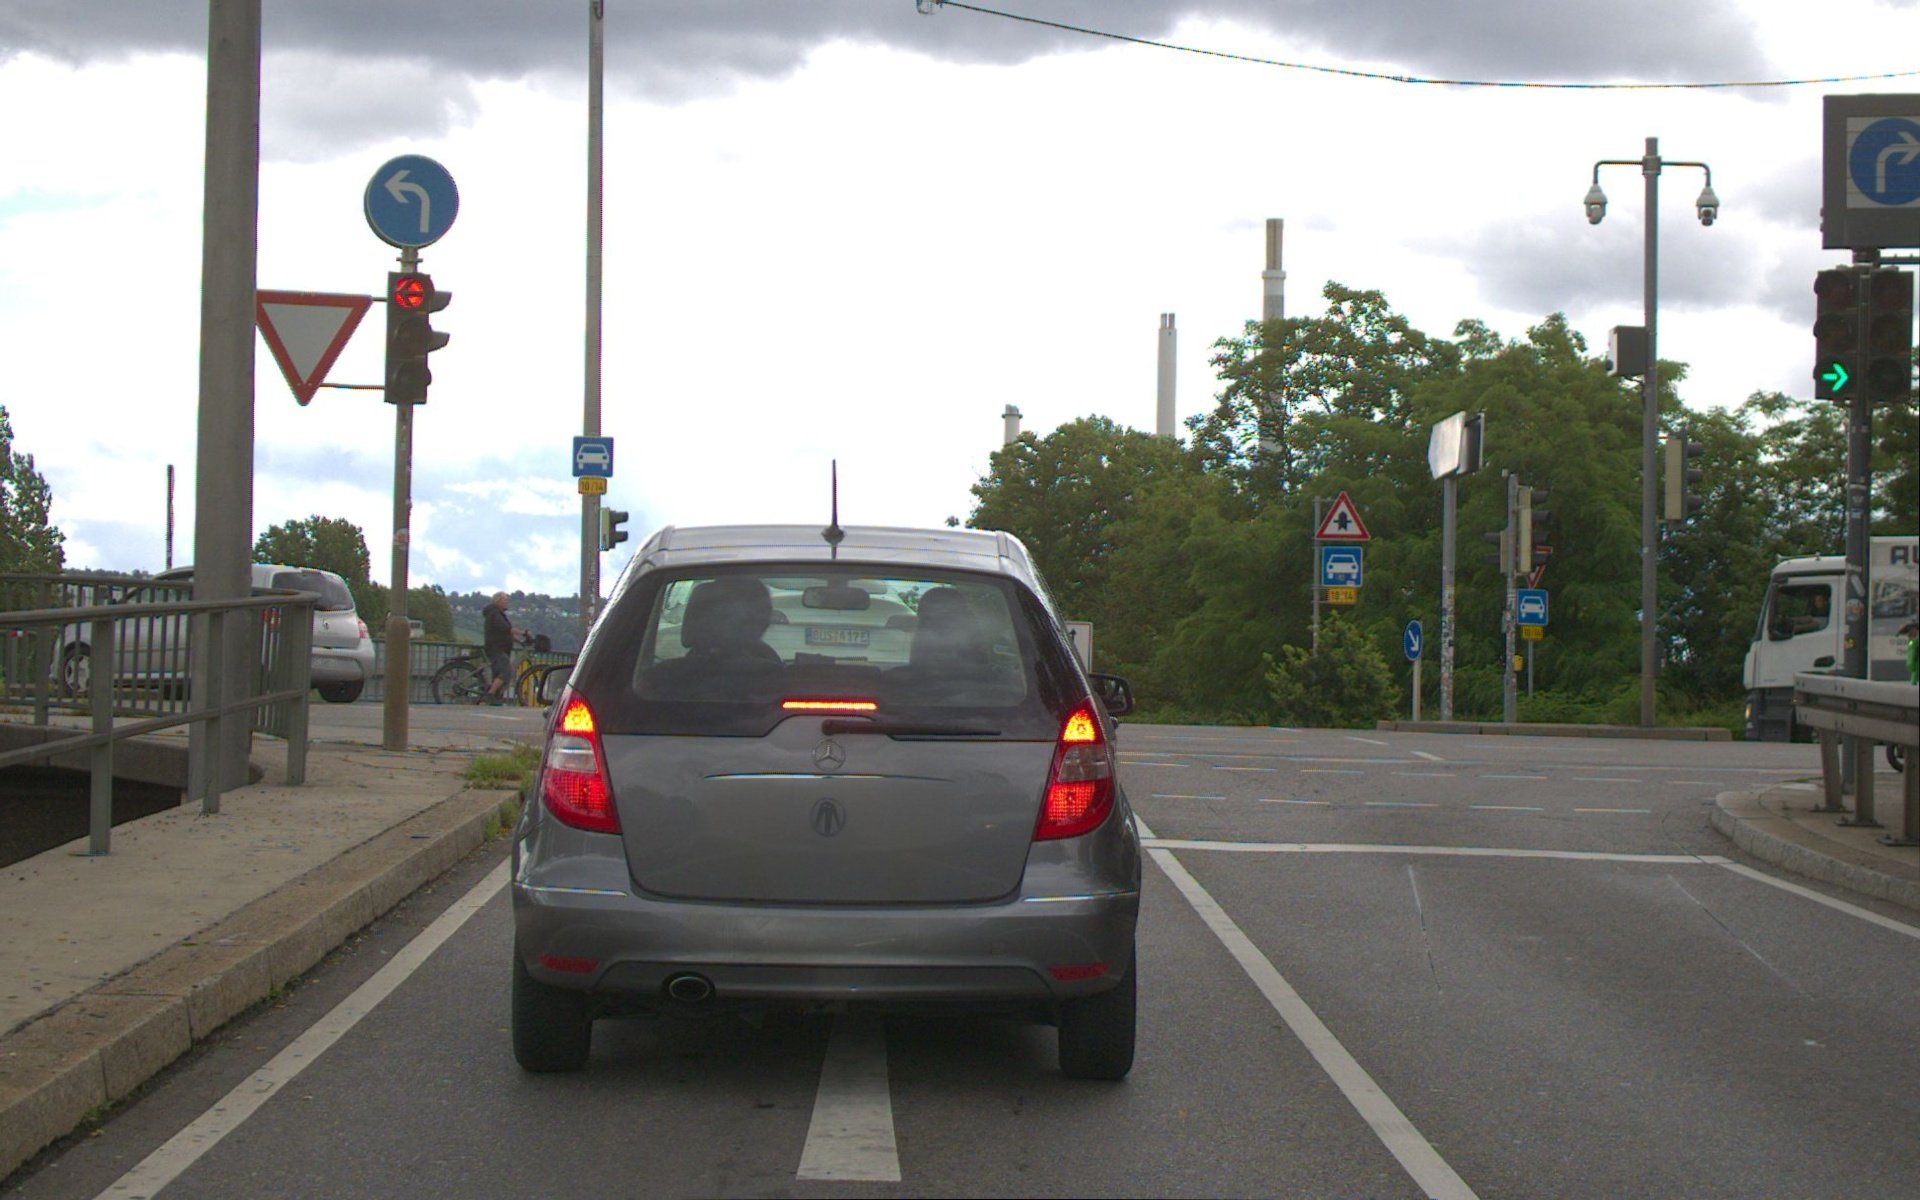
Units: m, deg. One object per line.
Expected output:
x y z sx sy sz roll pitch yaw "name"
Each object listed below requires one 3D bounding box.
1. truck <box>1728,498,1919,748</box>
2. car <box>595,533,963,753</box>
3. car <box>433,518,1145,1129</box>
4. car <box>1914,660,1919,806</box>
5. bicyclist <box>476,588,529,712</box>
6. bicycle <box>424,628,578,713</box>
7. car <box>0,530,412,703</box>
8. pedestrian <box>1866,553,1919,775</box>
16.262 0.361 48.408 10.231 3.506 2.794 1 1 30 "truck"
-1.641 0.304 29.427 1.930 1.711 4.407 0 1 -20 "car"
-0.407 0.541 11.046 1.858 1.583 4.000 1 1 1 "car"
12.956 1.557 38.594 3.987 1.659 1.813 1 1 2 "car"
-6.290 0.683 47.212 0.653 1.668 0.870 0 1 -11 "bicyclist"
-6.304 0.968 47.202 2.032 1.121 0.929 0 1 -11 "bicycle"
-8.028 0.134 36.519 3.993 1.711 1.935 1 1 27 "car"
7.538 0.500 26.434 0.832 1.672 0.979 0 -2 -4 "pedestrian"
